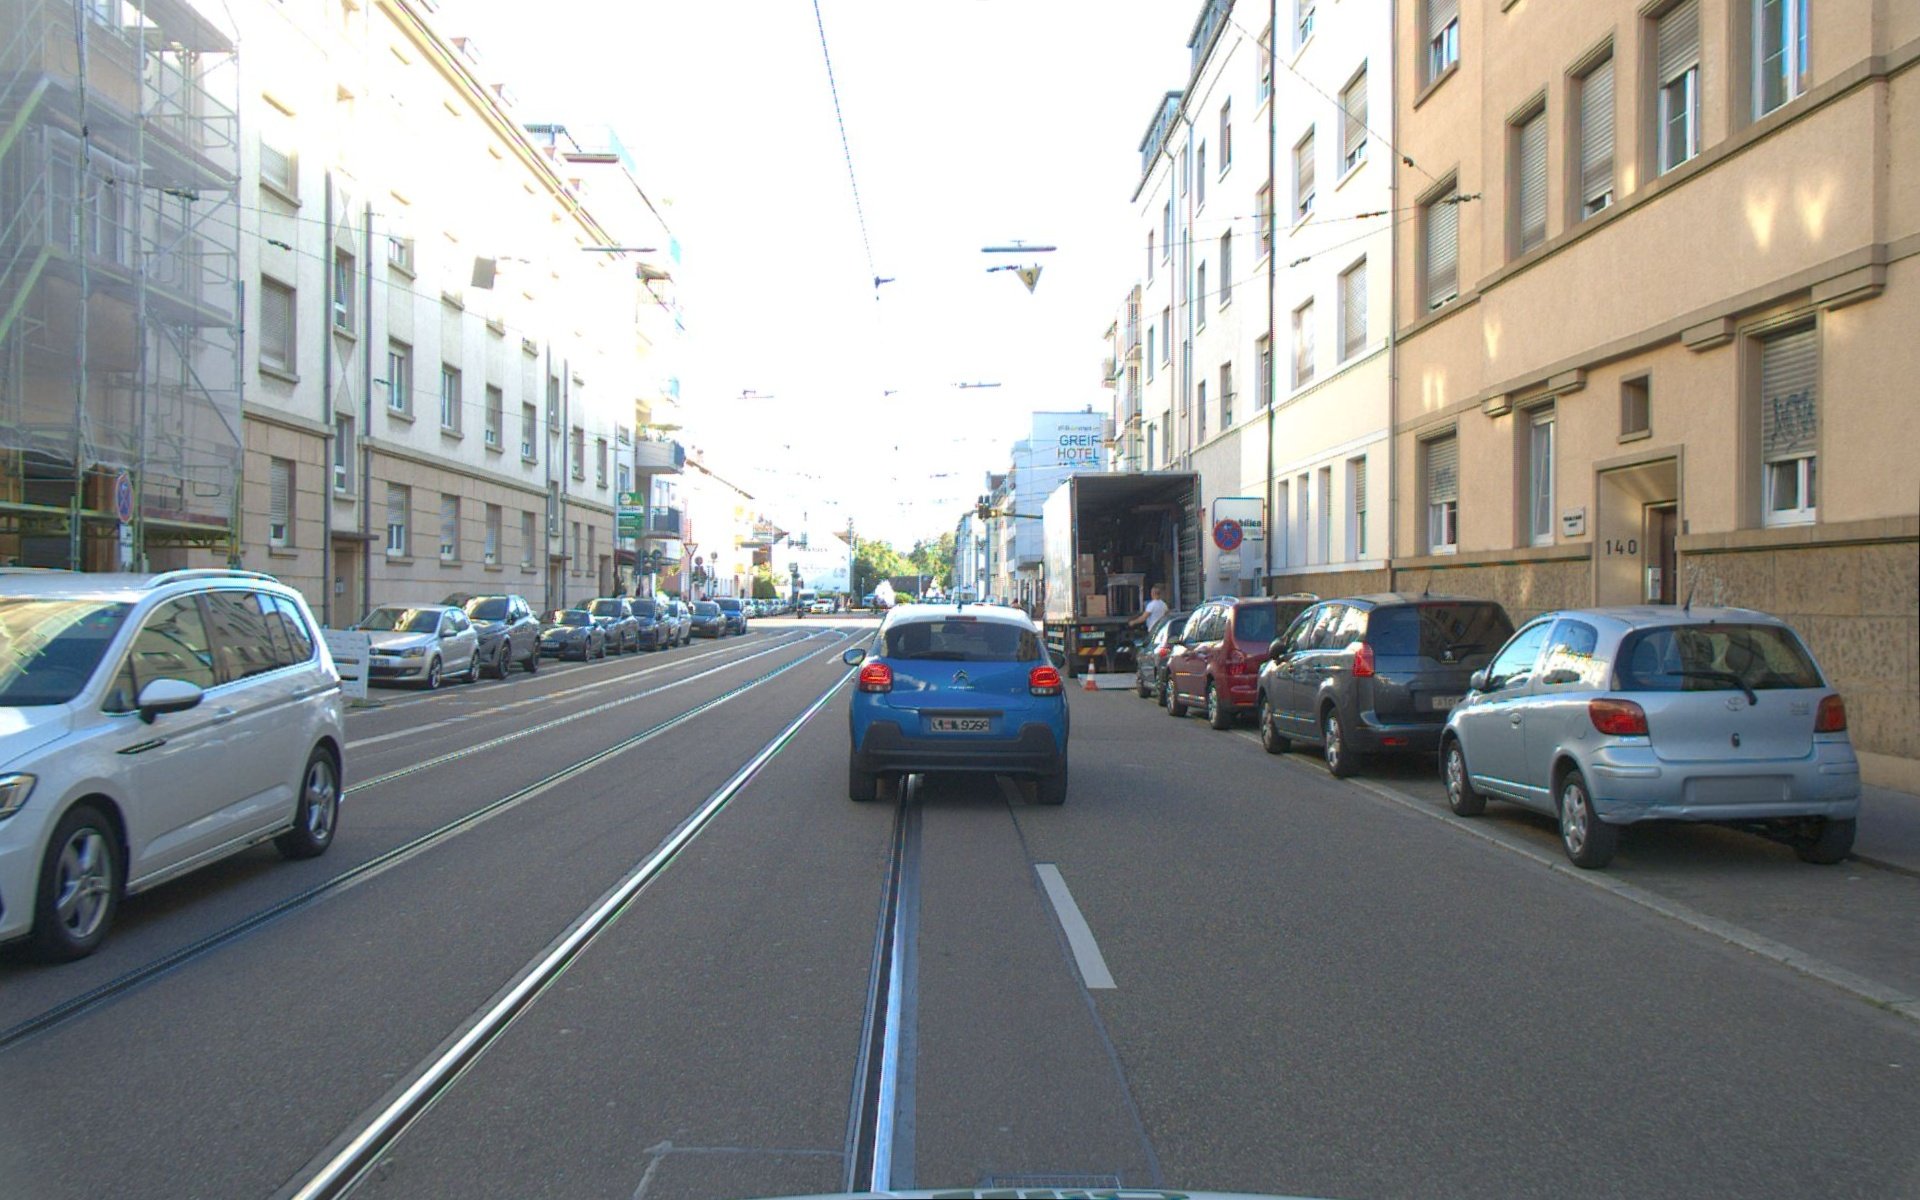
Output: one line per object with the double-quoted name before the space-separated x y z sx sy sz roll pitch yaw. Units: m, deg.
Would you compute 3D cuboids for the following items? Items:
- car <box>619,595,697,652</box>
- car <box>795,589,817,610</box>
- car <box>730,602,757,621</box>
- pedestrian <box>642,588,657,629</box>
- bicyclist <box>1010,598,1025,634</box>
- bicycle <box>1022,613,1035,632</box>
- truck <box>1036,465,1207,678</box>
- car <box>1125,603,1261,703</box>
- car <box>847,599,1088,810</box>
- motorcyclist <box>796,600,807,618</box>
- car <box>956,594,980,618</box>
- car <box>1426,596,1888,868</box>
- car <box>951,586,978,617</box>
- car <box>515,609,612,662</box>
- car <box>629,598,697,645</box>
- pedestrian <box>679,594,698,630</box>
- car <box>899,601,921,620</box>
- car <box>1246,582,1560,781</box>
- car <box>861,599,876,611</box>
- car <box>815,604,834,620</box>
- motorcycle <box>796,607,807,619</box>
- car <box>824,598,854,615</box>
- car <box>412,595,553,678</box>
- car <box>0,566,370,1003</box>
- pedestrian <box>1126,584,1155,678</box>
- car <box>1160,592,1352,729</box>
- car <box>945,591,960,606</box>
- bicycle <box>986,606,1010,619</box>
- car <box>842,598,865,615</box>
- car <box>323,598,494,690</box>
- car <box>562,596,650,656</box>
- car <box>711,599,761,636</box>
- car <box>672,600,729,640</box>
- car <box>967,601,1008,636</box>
"car" -9.430 0.733 51.856 1.665 1.644 4.243 2 -1 -1
"car" -16.660 -0.087 179.184 2.162 2.290 4.675 0 0 -2
"car" -17.981 0.925 137.389 1.872 1.523 3.998 0 0 -2
"pedestrian" -15.661 0.412 83.385 0.673 2.049 0.486 0 0 -4
"bicyclist" 2.701 0.746 77.733 0.711 1.675 0.790 0 0 2
"bicycle" 3.221 1.042 77.763 0.488 0.879 1.748 0 0 0
"truck" 3.443 -0.566 38.301 2.801 4.144 11.778 0 0 0
"car" 3.796 0.819 27.507 1.551 1.489 3.879 -1 0 -2
"car" -0.077 0.755 13.916 1.709 1.488 3.997 1 0 -4
"motorcyclist" -11.979 0.679 125.126 0.704 1.402 0.911 0 0 2
"car" 0.591 0.434 125.111 1.697 1.780 3.213 1 0 -1
"car" 4.403 0.738 11.026 1.576 1.488 3.479 -1 0 0
"car" 0.328 0.106 130.041 1.953 2.366 3.999 1 0 -1
"car" -10.044 0.882 42.121 1.665 1.237 3.784 2 -1 -2
"car" -10.266 0.745 57.423 1.665 1.536 4.384 2 -1 -2
"pedestrian" -12.004 0.546 73.137 0.683 1.575 0.721 0 0 2
"car" -4.481 0.953 149.215 1.953 1.646 3.999 1 0 -1
"car" 4.207 0.698 16.451 1.754 1.680 4.364 -1 0 -3
"car" -12.528 0.688 227.517 1.980 1.552 3.998 0 0 -2
"car" -13.900 1.240 169.775 1.813 1.601 4.398 0 0 -3
"motorcycle" -11.984 0.972 125.280 0.603 0.879 1.671 0 0 2
"car" -12.042 0.676 164.475 1.784 1.668 3.971 0 0 -23
"car" -9.762 0.695 34.144 1.665 1.595 4.405 0 0 -1
"car" -4.449 0.683 8.092 1.784 1.596 4.198 -1 0 -3
"pedestrian" 3.506 0.593 32.120 0.502 1.806 0.415 0 0 -1
"car" 3.869 0.735 22.312 1.560 1.637 4.243 -1 0 -4
"car" -0.873 -0.115 188.971 1.654 1.646 3.999 1 0 0
"bicycle" 2.859 0.974 124.555 1.834 0.973 0.702 0 0 3
"car" -9.688 0.606 150.844 1.953 1.534 3.999 0 0 -1
"car" -9.714 0.755 29.438 1.665 1.440 3.999 3 -1 -1
"car" -10.096 0.729 47.375 1.665 1.596 3.999 2 -1 -1
"car" -9.917 0.793 73.470 1.709 1.536 3.999 2 -1 -1
"car" -10.539 0.804 67.369 1.665 1.536 4.311 2 -1 -1
"car" 1.201 0.774 71.045 1.702 1.445 4.001 0 0 2
